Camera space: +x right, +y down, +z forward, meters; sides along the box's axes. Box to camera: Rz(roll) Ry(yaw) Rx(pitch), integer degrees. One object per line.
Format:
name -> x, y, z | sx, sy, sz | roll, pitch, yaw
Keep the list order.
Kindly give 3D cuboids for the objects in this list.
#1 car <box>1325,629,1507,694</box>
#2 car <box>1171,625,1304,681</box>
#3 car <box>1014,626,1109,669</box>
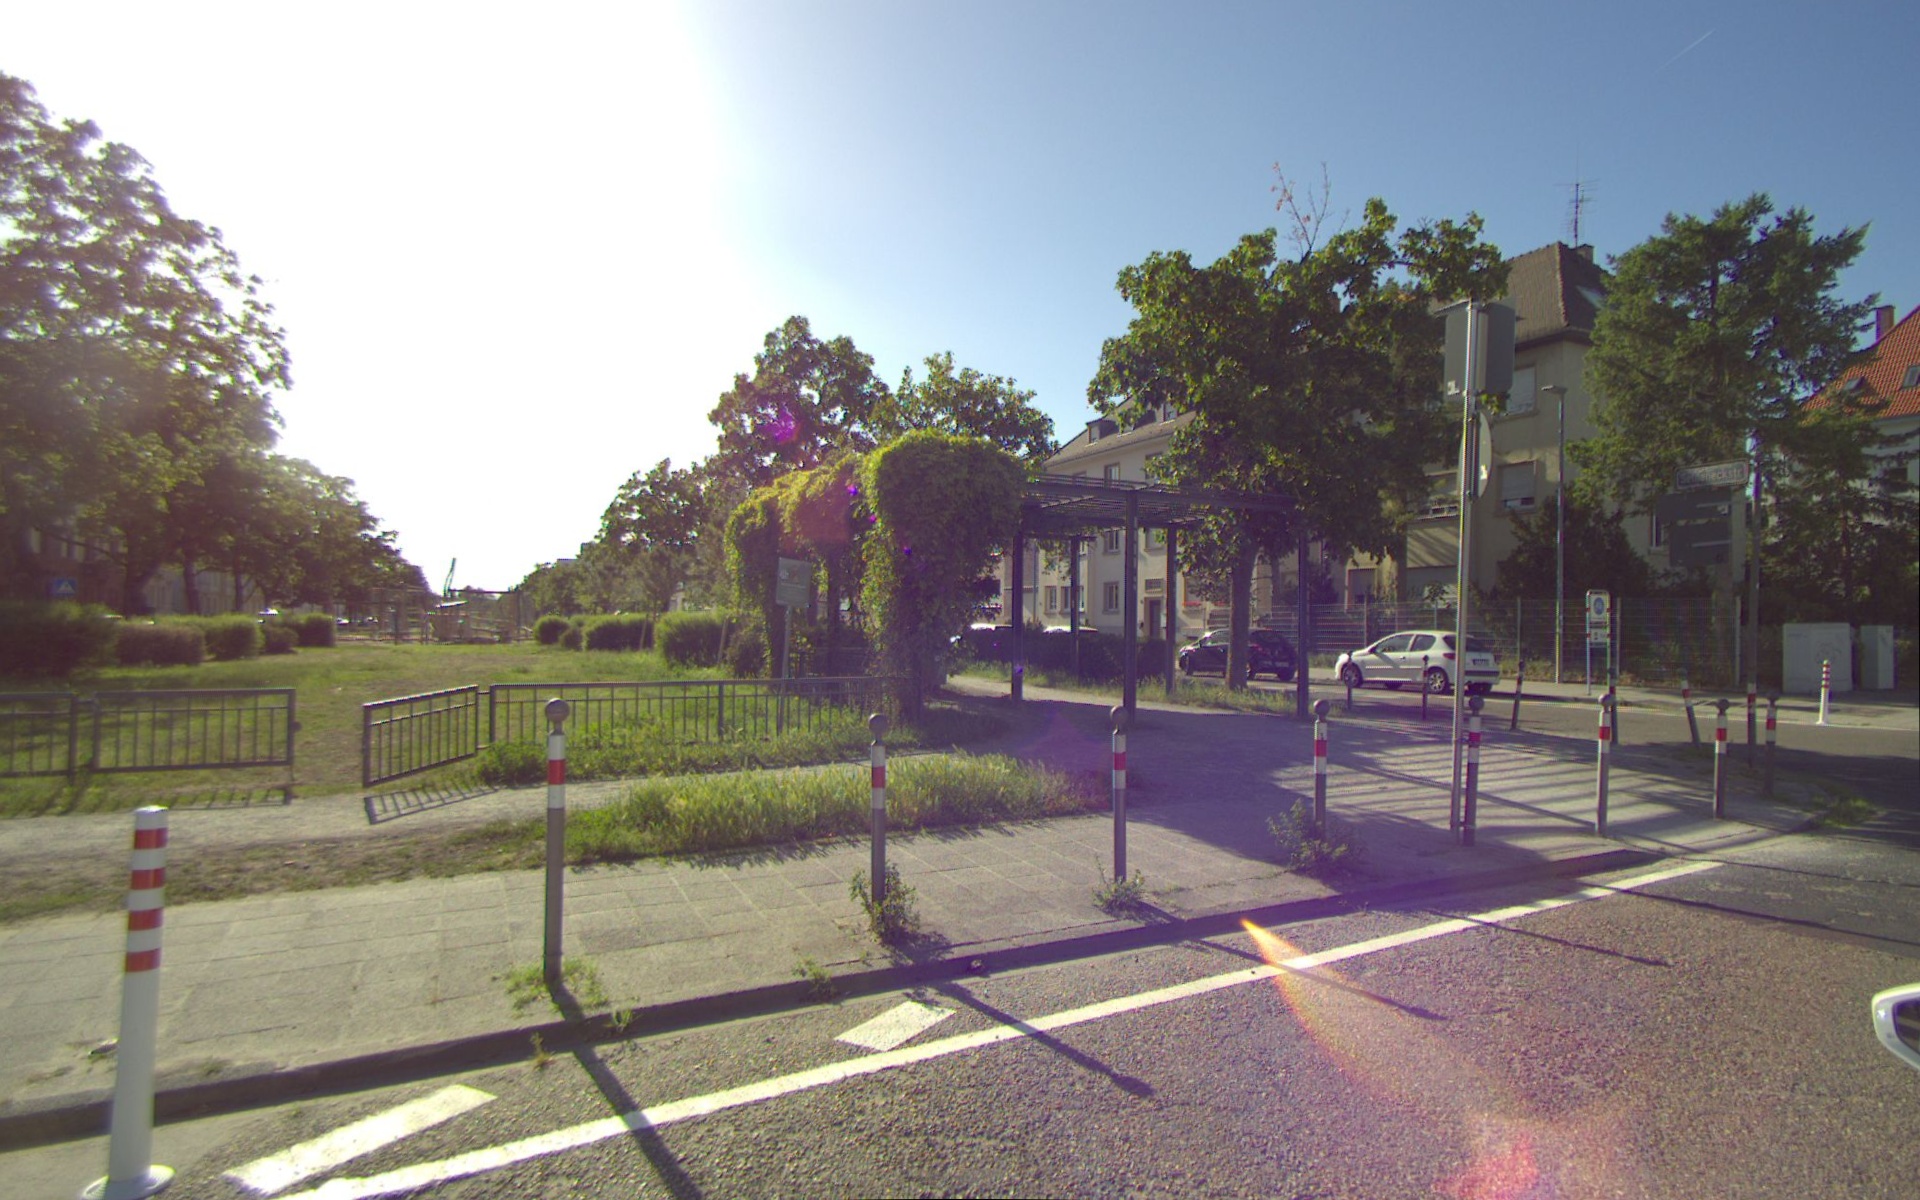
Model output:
car -> 10.783, 1.420, 24.004 | 1.685, 1.416, 3.751 | 2, -2, -27
car -> 7.989, 1.492, 29.224 | 1.655, 1.514, 3.801 | 2, -2, -26
car -> 3.809, 1.782, 38.338 | 1.778, 1.514, 3.974 | 2, -2, -26
